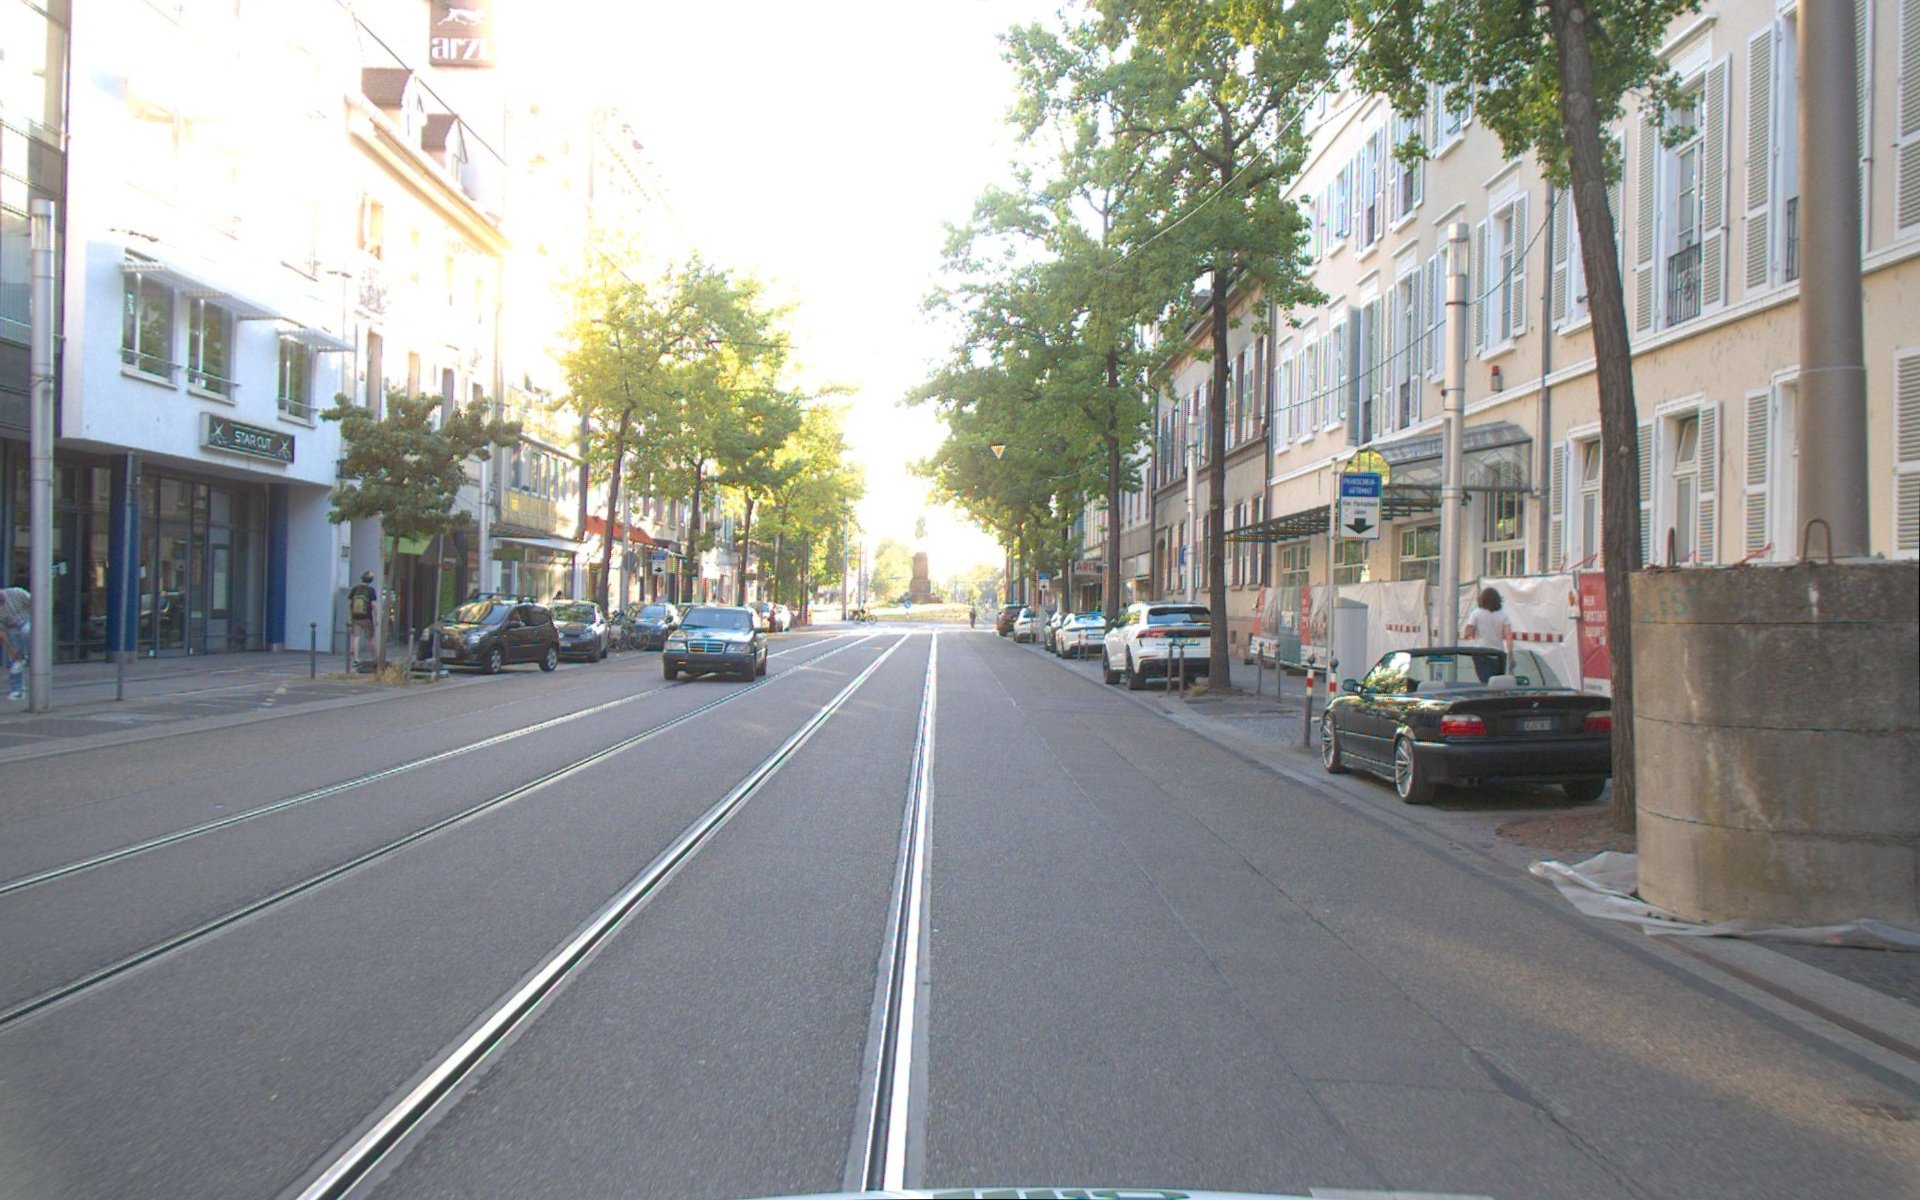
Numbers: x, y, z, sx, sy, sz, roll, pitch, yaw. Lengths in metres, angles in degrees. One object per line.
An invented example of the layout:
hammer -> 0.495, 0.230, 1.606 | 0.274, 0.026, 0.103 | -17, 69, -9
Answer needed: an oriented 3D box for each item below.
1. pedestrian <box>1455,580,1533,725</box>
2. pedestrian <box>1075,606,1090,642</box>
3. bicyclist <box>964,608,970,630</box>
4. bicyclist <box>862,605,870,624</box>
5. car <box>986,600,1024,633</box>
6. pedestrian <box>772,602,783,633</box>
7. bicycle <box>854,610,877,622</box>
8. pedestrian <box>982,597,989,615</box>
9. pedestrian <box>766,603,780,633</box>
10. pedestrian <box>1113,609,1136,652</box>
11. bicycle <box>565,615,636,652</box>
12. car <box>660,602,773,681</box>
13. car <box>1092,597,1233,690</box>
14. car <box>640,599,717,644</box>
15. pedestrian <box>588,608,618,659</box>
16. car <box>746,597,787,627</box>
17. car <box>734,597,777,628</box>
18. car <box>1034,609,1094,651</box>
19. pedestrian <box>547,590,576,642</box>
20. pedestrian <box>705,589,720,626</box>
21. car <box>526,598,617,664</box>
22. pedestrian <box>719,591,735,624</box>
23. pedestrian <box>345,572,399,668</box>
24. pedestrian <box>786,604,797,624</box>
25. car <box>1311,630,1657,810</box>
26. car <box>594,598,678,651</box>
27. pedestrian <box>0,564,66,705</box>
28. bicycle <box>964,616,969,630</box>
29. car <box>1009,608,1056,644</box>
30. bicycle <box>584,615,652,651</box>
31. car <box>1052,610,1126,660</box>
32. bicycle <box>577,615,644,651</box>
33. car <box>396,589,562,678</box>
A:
pedestrian -> 7.229, 0.694, 22.420 | 0.698, 1.920, 1.052 | 0, 0, -1
pedestrian -> 5.888, 1.171, 79.493 | 0.630, 1.699, 0.786 | -2, 0, -1
bicyclist -> 0.484, 1.318, 116.487 | 0.419, 1.507, 0.466 | 1, 0, 4
bicyclist -> -7.231, 1.135, 126.963 | 0.524, 1.463, 0.367 | 1, -1, 7
car -> 2.571, 0.922, 95.894 | 1.899, 1.790, 4.678 | -3, 0, -1
pedestrian -> -9.619, 0.932, 87.181 | 0.510, 1.596, 0.633 | 1, -2, 0
bicycle -> -7.254, 1.233, 126.936 | 1.694, 0.880, 0.367 | 1, 0, 7
pedestrian -> 2.389, 0.581, 157.031 | 0.623, 1.634, 0.771 | 1, 0, -3
pedestrian -> -9.761, 0.951, 86.408 | 0.607, 1.536, 0.729 | 1, -2, 0
pedestrian -> 6.956, 1.277, 69.982 | 0.841, 1.784, 0.932 | -2, 0, -1
bicycle -> -10.285, 0.955, 47.315 | 1.930, 1.019, 0.330 | 1, -1, 1
car -> -4.722, 0.772, 32.602 | 1.743, 1.432, 4.525 | 1, 0, -3
car -> 4.065, 0.863, 33.995 | 1.958, 1.717, 4.963 | -1, -1, -4
car -> -10.024, 0.773, 59.163 | 1.730, 1.523, 4.176 | 1, -1, 4
pedestrian -> -12.120, 1.127, 56.174 | 0.827, 1.723, 0.740 | 1, 0, -2
car -> -11.029, 0.690, 94.340 | 1.798, 1.608, 4.701 | 1, 0, 0
car -> -11.033, 0.674, 89.306 | 1.798, 1.608, 4.116 | 1, 0, 0
car -> 3.885, 1.104, 62.414 | 1.796, 1.504, 4.760 | -1, 0, -2
pedestrian -> -13.445, 0.535, 55.813 | 0.773, 1.723, 0.913 | 1, 0, -2
pedestrian -> -13.797, 0.407, 92.380 | 0.707, 2.049, 0.642 | 1, 0, -1
car -> -9.939, 0.766, 42.558 | 1.758, 1.516, 4.236 | 3, -1, -7
pedestrian -> -13.032, 0.418, 92.389 | 0.707, 1.791, 1.090 | 1, 0, -1
pedestrian -> -11.685, 0.395, 32.864 | 0.646, 1.857, 0.878 | 4, -1, -1
pedestrian -> -11.460, 0.947, 112.439 | 0.713, 1.313, 0.856 | 2, 0, -3
car -> 4.605, 0.987, 15.237 | 1.757, 1.334, 4.328 | -1, 0, -1
car -> -9.881, 0.733, 50.752 | 1.677, 1.486, 4.485 | 3, 0, -1
pedestrian -> -11.957, 0.428, 21.029 | 0.628, 1.743, 0.829 | 2, 0, 3
bicycle -> 0.483, 1.635, 116.555 | 0.258, 1.000, 1.339 | 1, 0, 4
car -> 3.407, 1.199, 78.018 | 1.953, 1.524, 4.679 | -2, 0, 0
bicycle -> -10.133, 0.982, 49.011 | 1.930, 1.019, 0.330 | 1, -1, 1
car -> 4.021, 1.064, 52.169 | 1.873, 1.445, 4.887 | -1, 0, -1
bicycle -> -10.434, 0.977, 49.392 | 1.930, 1.019, 0.330 | 1, -1, 1
car -> -9.873, 0.671, 34.238 | 1.595, 1.644, 3.711 | 3, 0, 14
